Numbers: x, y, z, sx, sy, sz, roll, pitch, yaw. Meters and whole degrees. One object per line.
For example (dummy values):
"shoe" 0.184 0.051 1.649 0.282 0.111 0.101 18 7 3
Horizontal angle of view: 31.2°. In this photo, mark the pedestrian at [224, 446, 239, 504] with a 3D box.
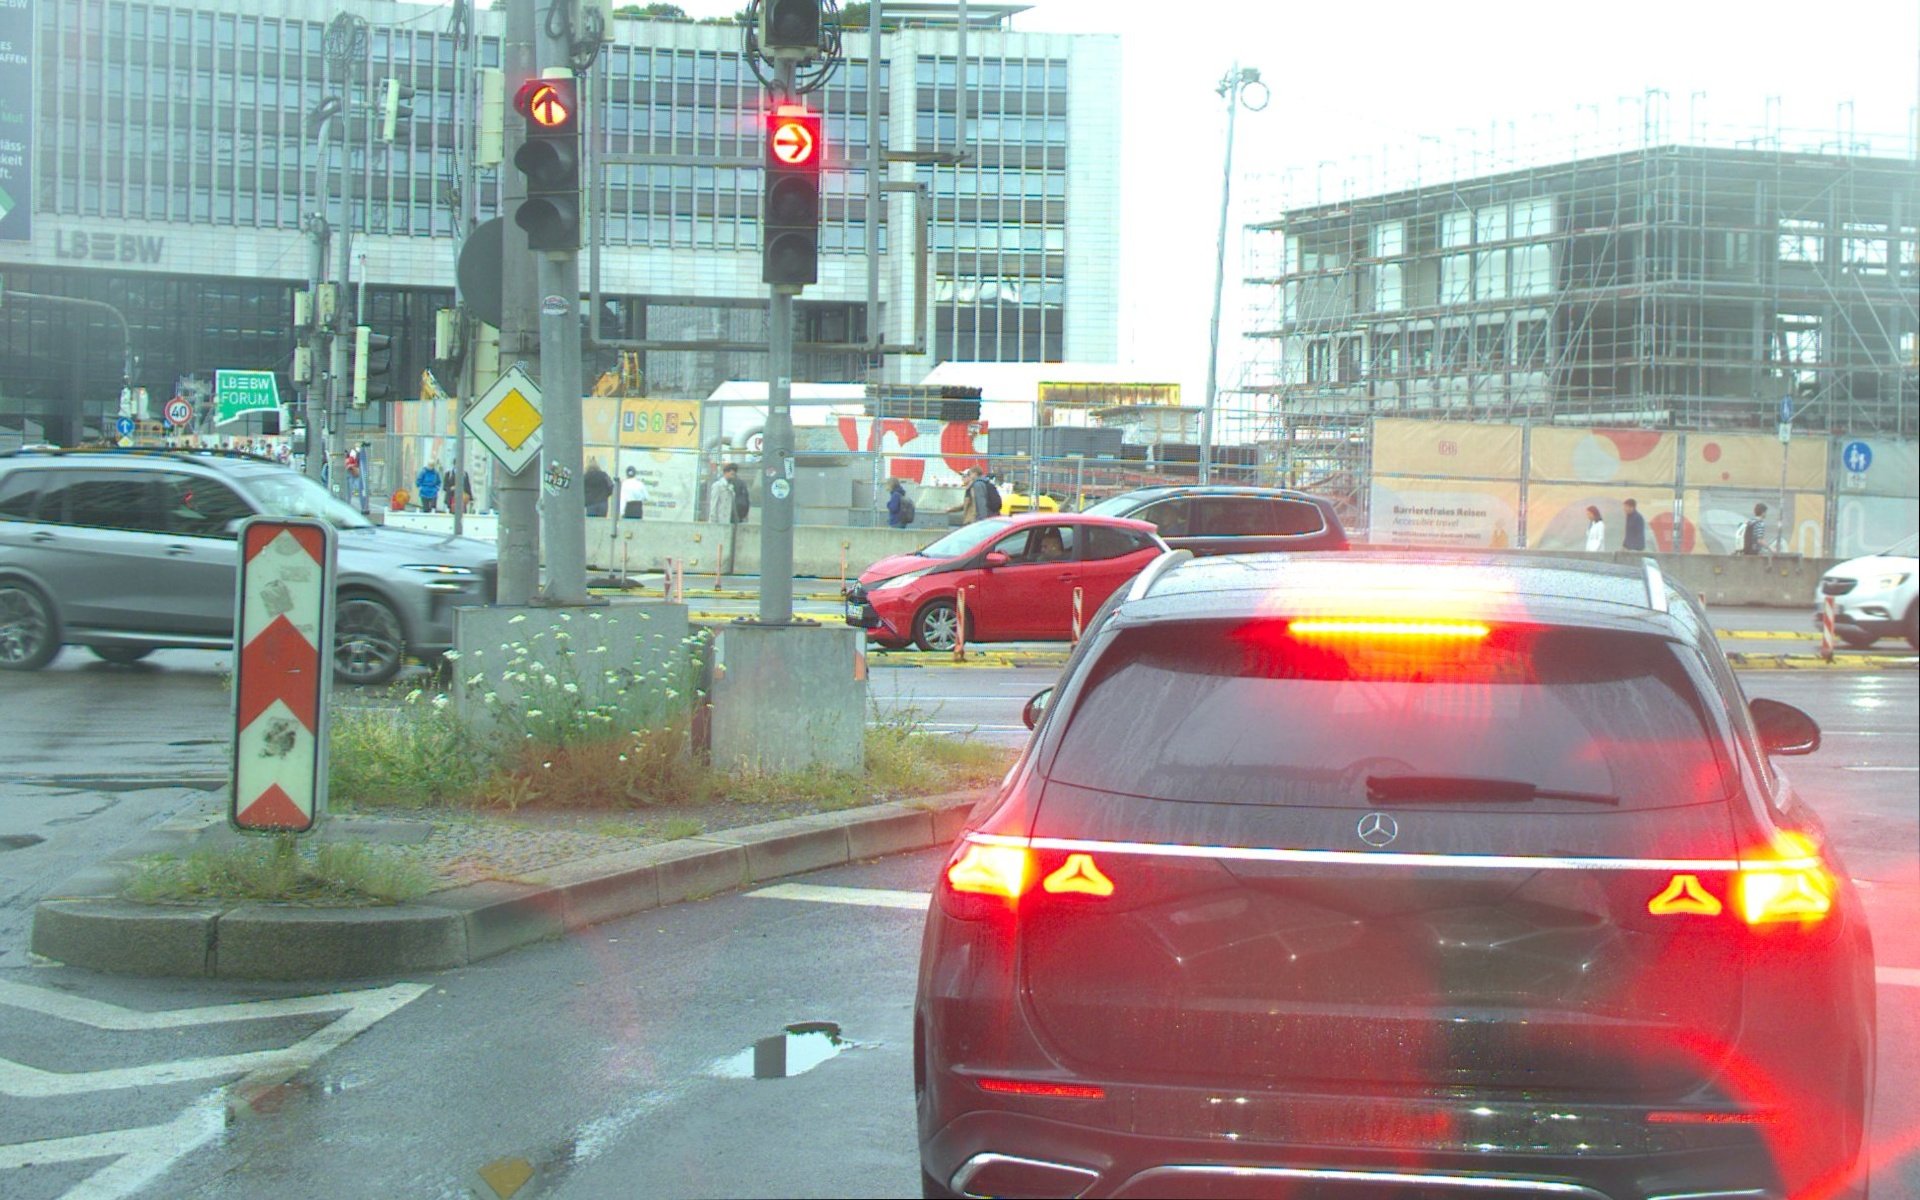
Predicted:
"pedestrian" -23.877 -4.088 112.694 0.361 1.891 0.576 2 0 -18

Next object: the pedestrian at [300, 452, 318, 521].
"pedestrian" -18.090 -3.136 95.488 0.361 1.891 0.576 2 0 -18

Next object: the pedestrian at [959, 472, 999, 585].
"pedestrian" 0.320 -1.206 58.383 0.574 1.891 0.362 2 0 -8

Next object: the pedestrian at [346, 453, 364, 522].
"pedestrian" -16.817 -3.123 95.502 0.361 1.891 0.576 2 0 -18

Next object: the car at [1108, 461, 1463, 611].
"car" 4.124 -0.798 43.779 3.985 1.728 2.001 2 0 -16

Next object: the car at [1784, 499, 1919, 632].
"car" 12.369 -0.364 41.905 4.039 1.547 2.001 2 0 -19

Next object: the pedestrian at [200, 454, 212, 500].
"pedestrian" -30.907 -5.041 140.982 0.361 1.891 0.576 2 0 -18

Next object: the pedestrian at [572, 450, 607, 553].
"pedestrian" -6.846 -1.821 63.507 0.361 1.891 0.576 2 0 -35

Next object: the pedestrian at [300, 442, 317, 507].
"pedestrian" -19.299 -3.723 101.777 0.361 1.891 0.576 2 0 -18

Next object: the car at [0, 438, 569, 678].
"car" -6.025 -0.365 28.544 5.090 1.791 1.998 2 0 15

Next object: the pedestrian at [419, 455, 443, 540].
"pedestrian" -11.955 -2.311 77.674 0.361 1.891 0.576 2 0 -22

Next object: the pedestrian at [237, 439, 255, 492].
"pedestrian" -25.811 -4.869 124.345 0.519 1.891 0.576 2 0 -18

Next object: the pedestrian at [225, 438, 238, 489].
"pedestrian" -27.671 -5.183 130.557 0.361 1.891 0.576 2 0 -18

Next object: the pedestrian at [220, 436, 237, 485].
"pedestrian" -28.461 -5.422 133.759 0.519 1.891 0.576 2 0 -18

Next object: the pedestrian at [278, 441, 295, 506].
"pedestrian" -19.892 -3.742 101.557 0.361 1.891 0.576 2 0 -18

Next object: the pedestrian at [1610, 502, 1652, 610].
"pedestrian" 11.851 -0.780 60.746 0.574 1.891 0.362 2 0 -11

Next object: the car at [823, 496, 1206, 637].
"car" 0.548 -0.337 35.215 3.532 1.300 1.666 2 0 -19

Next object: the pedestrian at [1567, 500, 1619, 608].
"pedestrian" 11.290 -0.825 61.313 0.655 1.895 0.632 2 0 -14

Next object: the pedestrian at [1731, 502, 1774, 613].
"pedestrian" 13.689 -0.726 59.380 0.574 1.891 0.362 2 0 -11

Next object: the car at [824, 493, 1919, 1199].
"car" 0.890 0.615 7.781 1.891 1.538 3.993 2 0 5

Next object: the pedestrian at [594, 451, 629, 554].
"pedestrian" -6.458 -1.802 63.635 0.361 1.891 0.576 1 1 -39

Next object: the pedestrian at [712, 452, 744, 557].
"pedestrian" -4.212 -1.731 62.449 0.361 1.891 0.576 2 0 -22

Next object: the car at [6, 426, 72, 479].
"car" -32.045 -5.148 119.562 1.727 1.634 3.436 2 4 -22

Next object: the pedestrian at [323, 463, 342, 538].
"pedestrian" -16.057 -2.546 87.950 0.361 1.891 0.576 2 0 -18

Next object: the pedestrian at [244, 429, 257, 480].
"pedestrian" -26.984 -5.539 130.819 0.361 1.891 0.576 2 0 -18

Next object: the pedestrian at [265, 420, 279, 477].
"pedestrian" -23.316 -5.136 116.536 0.361 1.891 0.576 2 0 -18

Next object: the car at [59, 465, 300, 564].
"car" -12.603 -1.381 55.474 3.554 1.468 1.783 2 0 33

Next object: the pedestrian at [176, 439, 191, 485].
"pedestrian" -32.416 -5.766 143.569 0.519 1.891 0.576 2 0 -18

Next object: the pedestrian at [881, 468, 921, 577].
"pedestrian" -1.029 -1.351 60.034 0.575 1.891 0.362 2 0 13

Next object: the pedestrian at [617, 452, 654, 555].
"pedestrian" -6.014 -1.795 63.757 0.361 1.891 0.576 2 0 -39

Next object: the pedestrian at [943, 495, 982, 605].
"pedestrian" 0.040 -0.860 59.727 0.575 1.891 0.362 2 0 8

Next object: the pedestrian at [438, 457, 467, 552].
"pedestrian" -10.225 -1.916 69.225 0.361 1.891 0.576 2 0 -26
